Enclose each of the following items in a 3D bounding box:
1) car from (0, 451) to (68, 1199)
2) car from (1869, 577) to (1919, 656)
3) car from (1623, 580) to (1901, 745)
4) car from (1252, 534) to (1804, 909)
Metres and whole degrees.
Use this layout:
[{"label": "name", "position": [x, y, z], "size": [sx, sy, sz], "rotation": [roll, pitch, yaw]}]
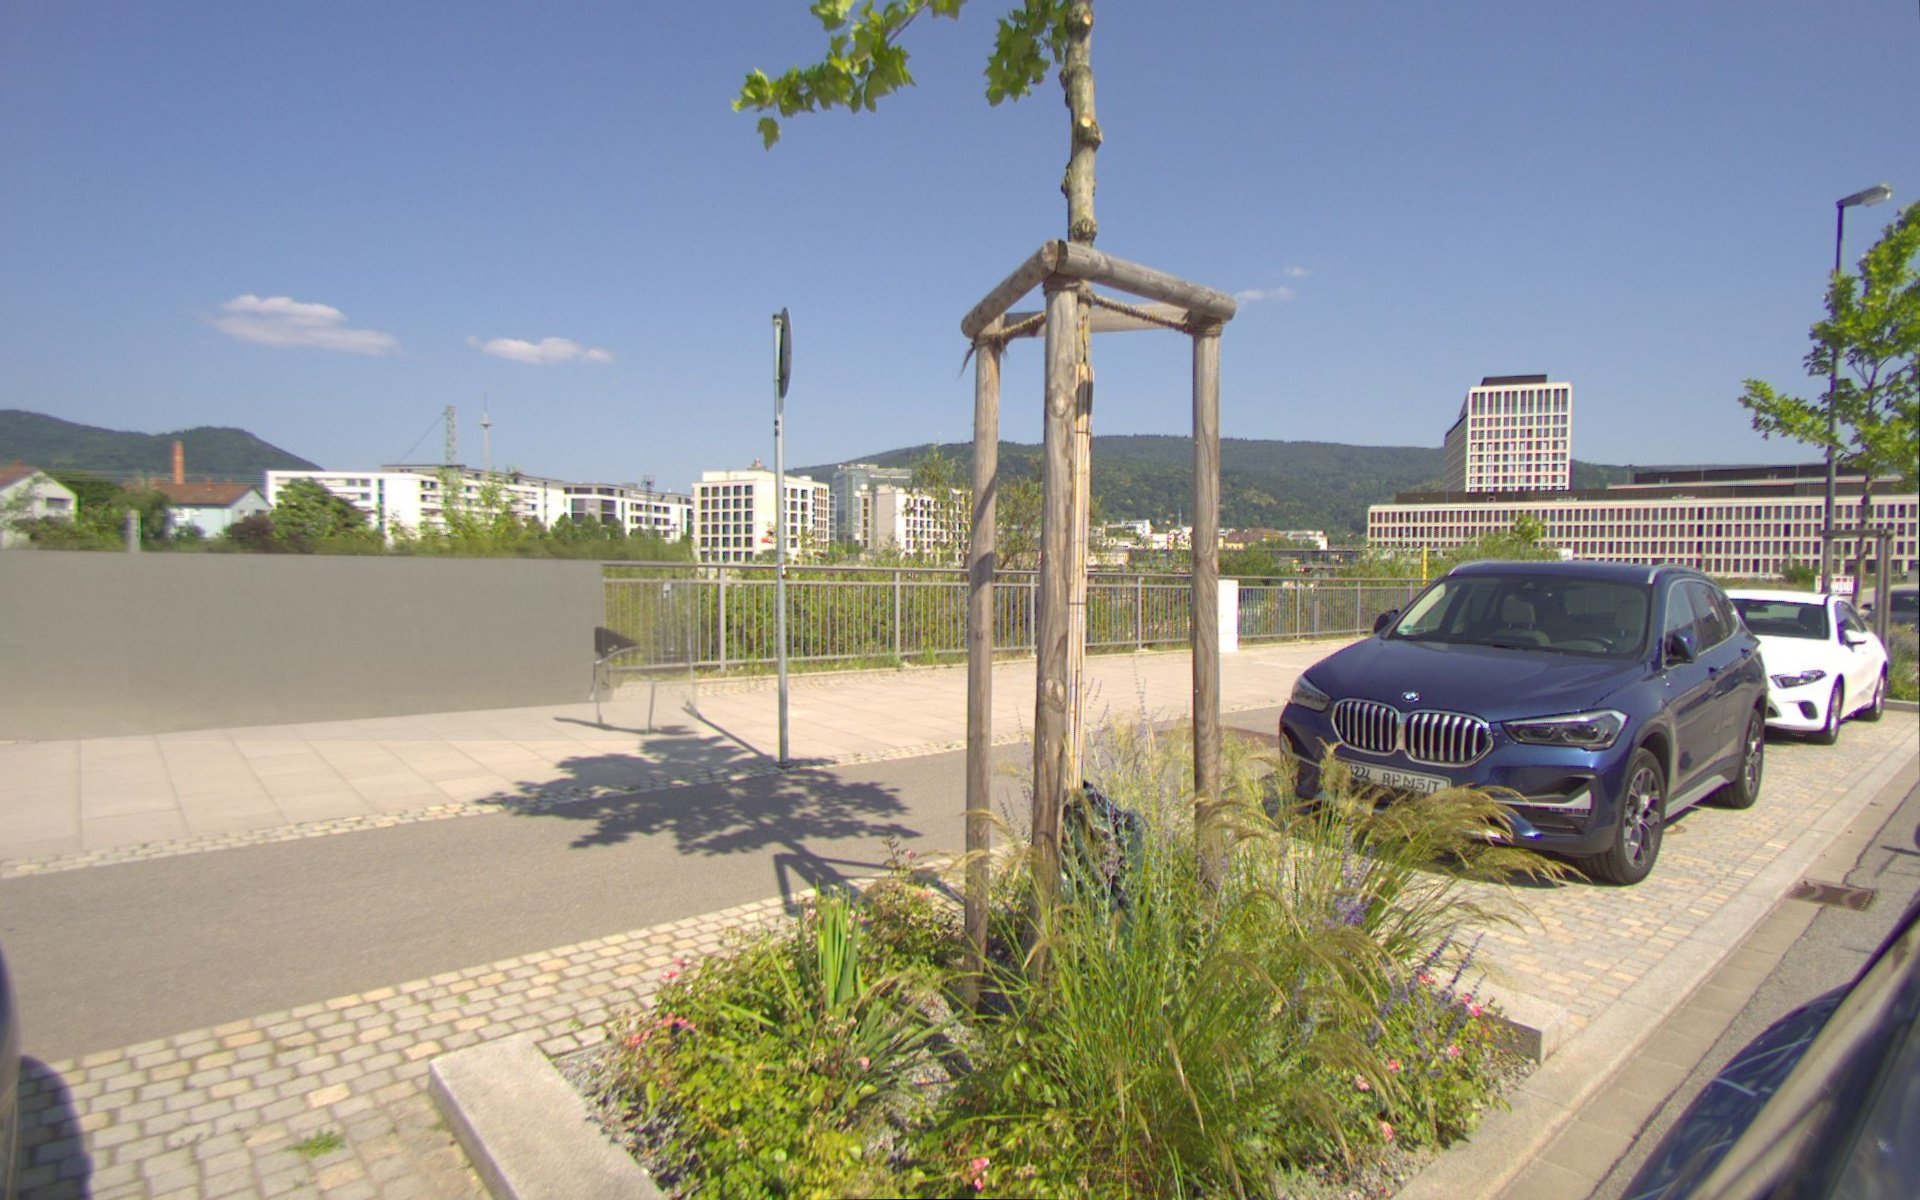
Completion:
[{"label": "car", "position": [-2.978, 0.556, 0.376], "size": [3.930, 1.444, 1.664], "rotation": [-1, 3, -41]}, {"label": "car", "position": [20.366, 0.309, 21.071], "size": [3.930, 1.558, 1.663], "rotation": [-1, 0, -41]}, {"label": "car", "position": [8.761, 0.532, 10.945], "size": [3.930, 1.473, 1.663], "rotation": [-1, 0, -41]}, {"label": "car", "position": [3.801, 0.501, 6.436], "size": [4.164, 1.627, 1.768], "rotation": [-1, 0, -41]}]
